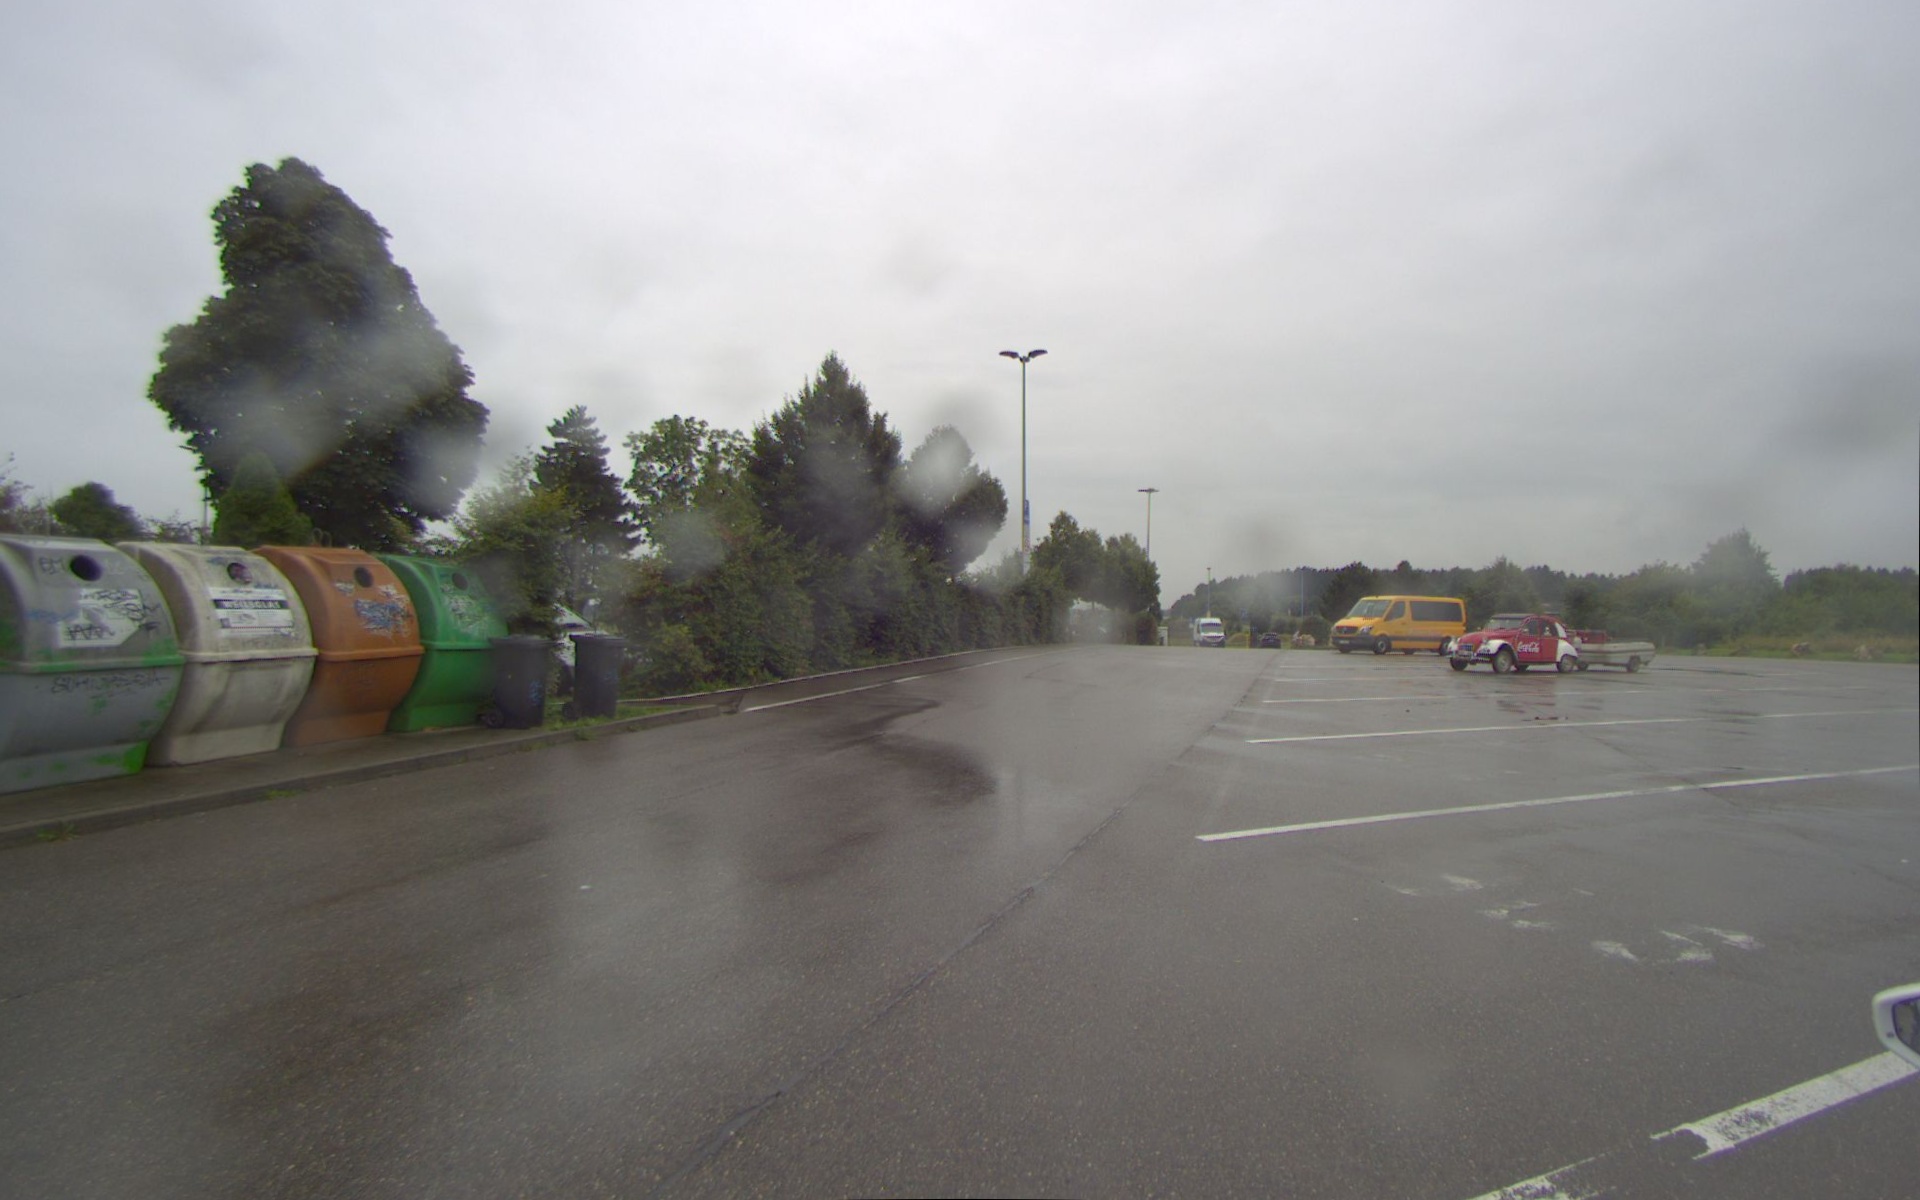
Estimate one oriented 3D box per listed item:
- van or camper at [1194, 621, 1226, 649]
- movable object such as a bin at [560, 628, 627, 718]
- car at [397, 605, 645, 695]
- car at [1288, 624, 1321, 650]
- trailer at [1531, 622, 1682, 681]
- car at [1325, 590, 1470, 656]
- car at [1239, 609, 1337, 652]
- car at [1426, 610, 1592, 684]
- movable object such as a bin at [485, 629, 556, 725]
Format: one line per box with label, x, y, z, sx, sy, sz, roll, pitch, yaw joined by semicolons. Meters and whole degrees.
van or camper;20.542;2.844;82.695;1.959;2.195;4.003;1;-1;6
movable object such as a bin;-3.932;0.768;10.792;0.499;0.928;0.438;0;0;21
car;-7.287;0.763;16.711;3.577;1.286;1.807;1;0;22
car;28.091;3.040;81.972;1.653;2.040;4.003;0;-2;6
trailer;18.000;1.405;27.965;3.944;1.553;1.691;1;-1;-24
car;17.346;0.977;39.729;5.949;2.411;1.986;2;-3;-27
car;18.071;1.656;55.429;4.688;2.231;1.996;1;1;-10
car;14.395;1.220;26.348;3.944;1.800;1.818;1;-2;-24
movable object such as a bin;-4.451;0.767;10.183;0.499;0.935;0.438;0;0;23
